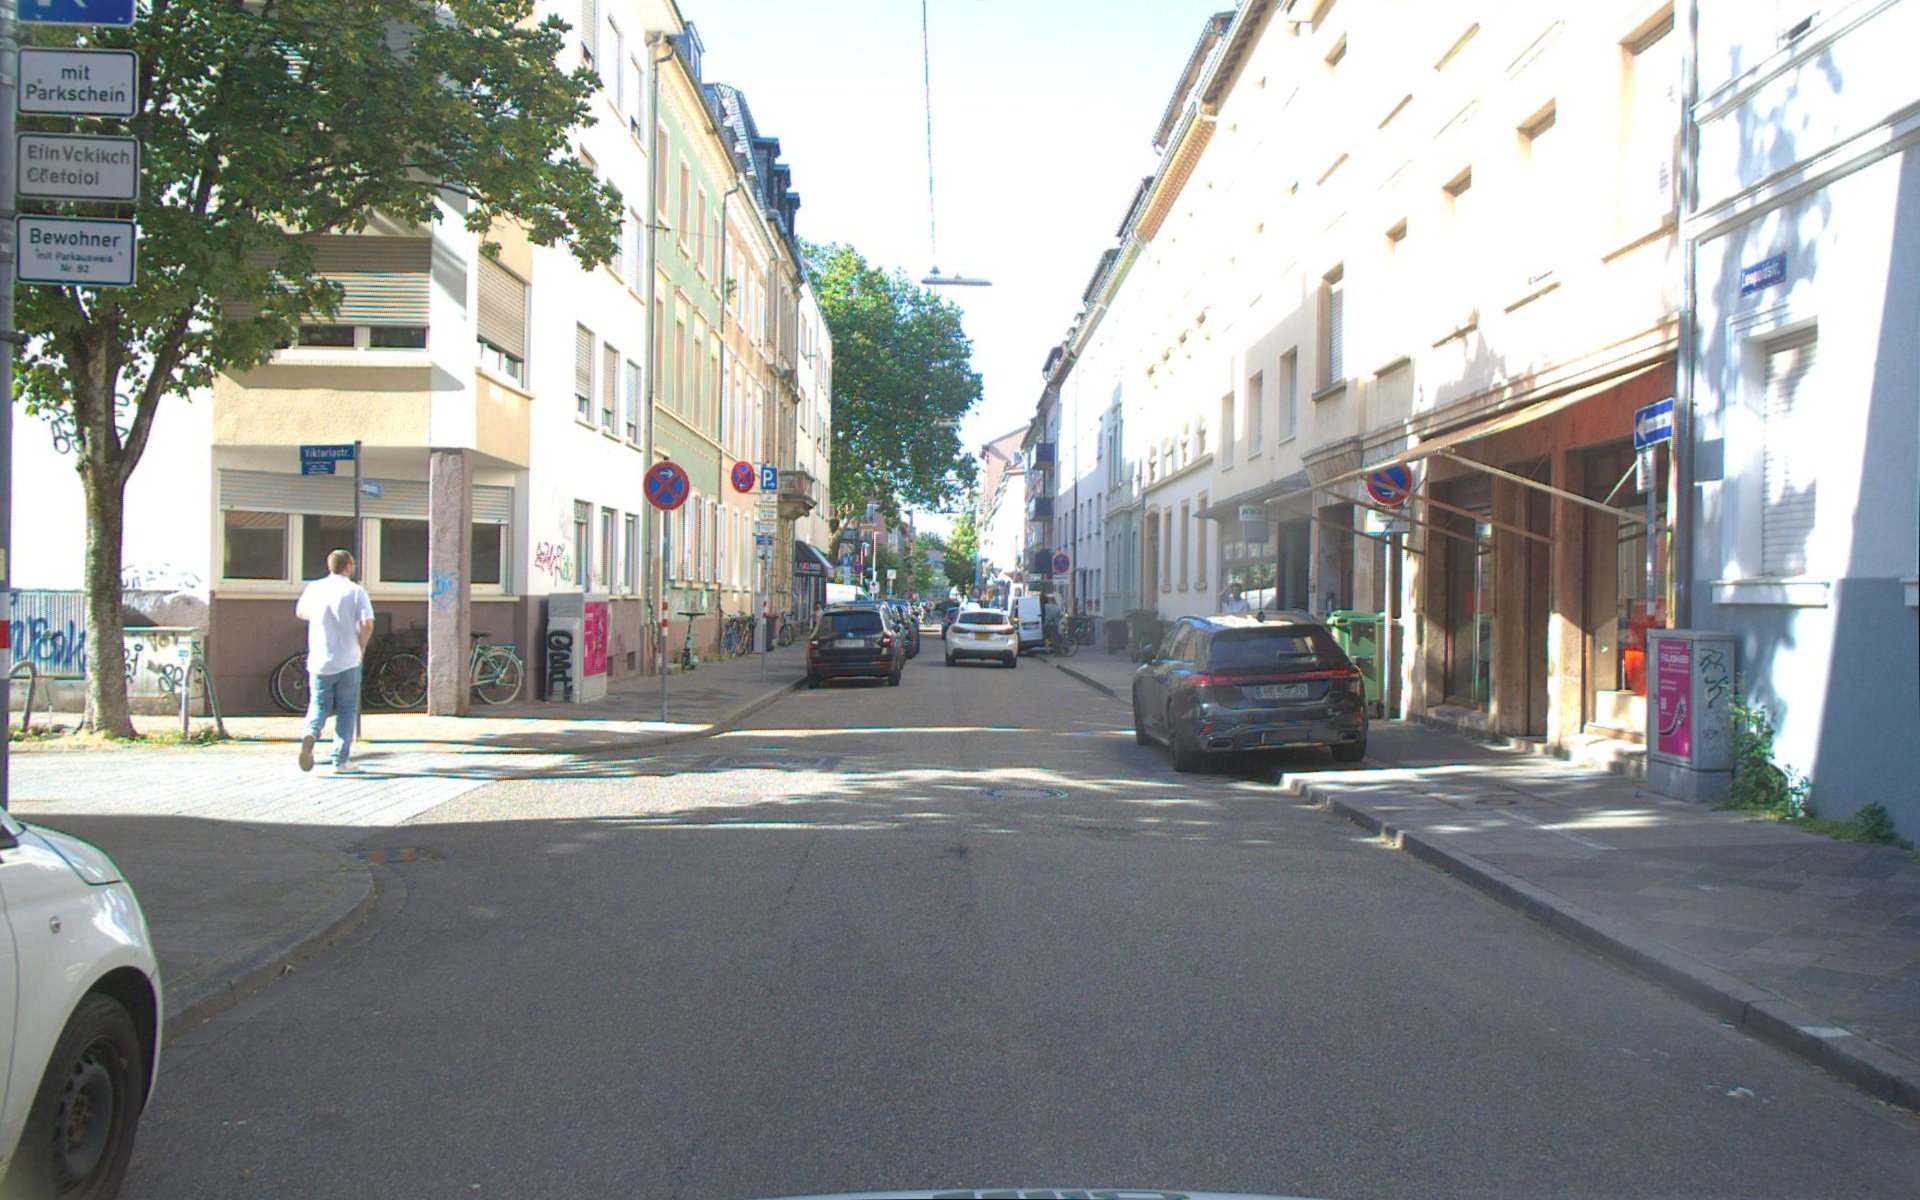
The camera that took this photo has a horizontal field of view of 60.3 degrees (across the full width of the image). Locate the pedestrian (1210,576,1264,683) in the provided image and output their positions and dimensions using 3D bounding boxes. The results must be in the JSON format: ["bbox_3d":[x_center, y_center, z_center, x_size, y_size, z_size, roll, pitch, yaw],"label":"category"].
[{"bbox_3d":[5.044,0.528,30.093,0.639,1.892,0.744,-1,0,-23],"label":"pedestrian"}]

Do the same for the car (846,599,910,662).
[{"bbox_3d":[-2.147,0.786,43.900,1.583,1.581,3.976,1,0,-2],"label":"car"}]

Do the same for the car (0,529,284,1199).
[{"bbox_3d":[-2.723,0.641,2.755,1.633,1.588,3.722,1,0,0],"label":"car"}]

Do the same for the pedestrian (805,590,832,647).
[{"bbox_3d":[-4.459,0.577,52.154,0.749,1.744,0.883,2,0,-2],"label":"pedestrian"}]

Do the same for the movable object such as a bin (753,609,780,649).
[{"bbox_3d":[-5.560,0.830,47.532,0.721,1.108,0.682,1,1,-4],"label":"movable object such as a bin"}]

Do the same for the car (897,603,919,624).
[{"bbox_3d":[-4.199,1.099,134.982,1.734,1.616,3.725,1,1,-1],"label":"car"}]

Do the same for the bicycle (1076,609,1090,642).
[{"bbox_3d":[4.667,0.971,62.668,0.428,1.227,2.267,0,-1,6],"label":"bicycle"}]

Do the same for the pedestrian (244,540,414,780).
[{"bbox_3d":[-5.123,0.476,13.514,0.892,1.865,1.245,1,-1,-1],"label":"pedestrian"}]

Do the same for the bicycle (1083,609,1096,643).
[{"bbox_3d":[4.801,0.952,61.334,0.396,1.227,2.160,1,-1,2],"label":"bicycle"}]

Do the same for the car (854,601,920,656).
[{"bbox_3d":[-2.102,0.811,48.668,1.678,1.558,4.367,0,0,1],"label":"car"}]

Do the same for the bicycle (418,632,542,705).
[{"bbox_3d":[-6.215,0.875,21.471,0.423,0.897,1.562,2,0,38],"label":"bicycle"}]

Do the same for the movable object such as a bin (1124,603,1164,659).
[{"bbox_3d":[4.811,0.832,43.241,0.820,1.414,1.296,-2,-2,-2],"label":"movable object such as a bin"}]

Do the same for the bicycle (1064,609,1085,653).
[{"bbox_3d":[3.454,0.921,49.961,0.563,1.293,2.200,-1,0,3],"label":"bicycle"}]

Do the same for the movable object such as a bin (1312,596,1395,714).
[{"bbox_3d":[5.079,0.691,21.435,0.731,1.461,1.372,-2,0,1],"label":"movable object such as a bin"}]

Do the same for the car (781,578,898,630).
[{"bbox_3d":[-7.092,0.226,98.187,6.601,2.599,2.146,4,-1,1],"label":"car"}]

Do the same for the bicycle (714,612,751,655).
[{"bbox_3d":[-5.608,0.822,40.853,0.353,1.046,1.919,0,-1,9],"label":"bicycle"}]

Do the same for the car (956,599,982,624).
[{"bbox_3d":[0.736,0.929,138.277,1.904,1.982,4.075,2,0,-3],"label":"car"}]

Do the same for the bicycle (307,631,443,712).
[{"bbox_3d":[-7.096,0.854,20.120,0.397,0.913,1.577,0,0,40],"label":"bicycle"}]

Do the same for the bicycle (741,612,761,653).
[{"bbox_3d":[-5.589,0.857,44.202,0.394,1.074,1.835,1,-1,-4],"label":"bicycle"}]

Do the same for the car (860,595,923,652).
[{"bbox_3d":[-2.203,0.736,54.185,1.896,1.766,5.141,0,0,-1],"label":"car"}]

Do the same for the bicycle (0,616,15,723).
[{"bbox_3d":[-10.364,0.745,16.735,0.472,1.120,2.062,1,1,-2],"label":"bicycle"}]

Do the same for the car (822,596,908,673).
[{"bbox_3d":[-2.128,0.750,38.106,1.708,1.643,4.603,0,0,0],"label":"car"}]

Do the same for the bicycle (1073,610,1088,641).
[{"bbox_3d":[4.643,0.997,63.756,0.556,1.174,1.869,1,-1,4],"label":"bicycle"}]

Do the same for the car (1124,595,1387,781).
[{"bbox_3d":[2.879,0.797,17.191,1.764,1.606,4.896,2,0,-1],"label":"car"}]

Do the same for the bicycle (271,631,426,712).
[{"bbox_3d":[-7.475,0.853,20.299,0.376,0.929,1.853,0,0,39],"label":"bicycle"}]

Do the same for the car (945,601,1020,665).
[{"bbox_3d":[0.538,0.821,42.606,1.787,1.540,3.822,1,0,-1],"label":"car"}]

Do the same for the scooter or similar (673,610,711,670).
[{"bbox_3d":[-5.477,0.814,33.861,0.444,1.202,1.691,1,-1,2],"label":"scooter or similar"}]

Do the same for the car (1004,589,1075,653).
[{"bbox_3d":[2.619,0.673,55.590,1.943,1.916,5.598,-3,0,-1],"label":"car"}]

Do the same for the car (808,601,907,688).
[{"bbox_3d":[-1.926,0.811,32.249,1.679,1.514,4.850,-2,0,-1],"label":"car"}]

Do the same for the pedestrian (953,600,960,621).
[{"bbox_3d":[-0.351,1.066,168.249,0.755,2.155,0.834,1,-1,0],"label":"pedestrian"}]

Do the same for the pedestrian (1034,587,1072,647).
[{"bbox_3d":[2.929,0.553,52.211,0.870,1.869,0.861,1,-1,-28],"label":"pedestrian"}]

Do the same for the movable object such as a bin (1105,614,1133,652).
[{"bbox_3d":[4.797,0.987,49.834,0.780,1.115,0.642,1,-1,1],"label":"movable object such as a bin"}]

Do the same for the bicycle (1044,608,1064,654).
[{"bbox_3d":[2.817,0.918,49.629,0.563,1.344,2.200,0,0,3],"label":"bicycle"}]

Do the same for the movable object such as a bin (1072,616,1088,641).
[{"bbox_3d":[4.726,1.119,65.024,0.565,0.941,0.607,-2,-1,-1],"label":"movable object such as a bin"}]

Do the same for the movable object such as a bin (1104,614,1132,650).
[{"bbox_3d":[4.812,0.978,50.506,0.795,1.107,0.674,1,-1,1],"label":"movable object such as a bin"}]

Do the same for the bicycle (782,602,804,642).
[{"bbox_3d":[-5.474,0.719,54.152,0.500,1.299,1.867,1,-1,1],"label":"bicycle"}]
